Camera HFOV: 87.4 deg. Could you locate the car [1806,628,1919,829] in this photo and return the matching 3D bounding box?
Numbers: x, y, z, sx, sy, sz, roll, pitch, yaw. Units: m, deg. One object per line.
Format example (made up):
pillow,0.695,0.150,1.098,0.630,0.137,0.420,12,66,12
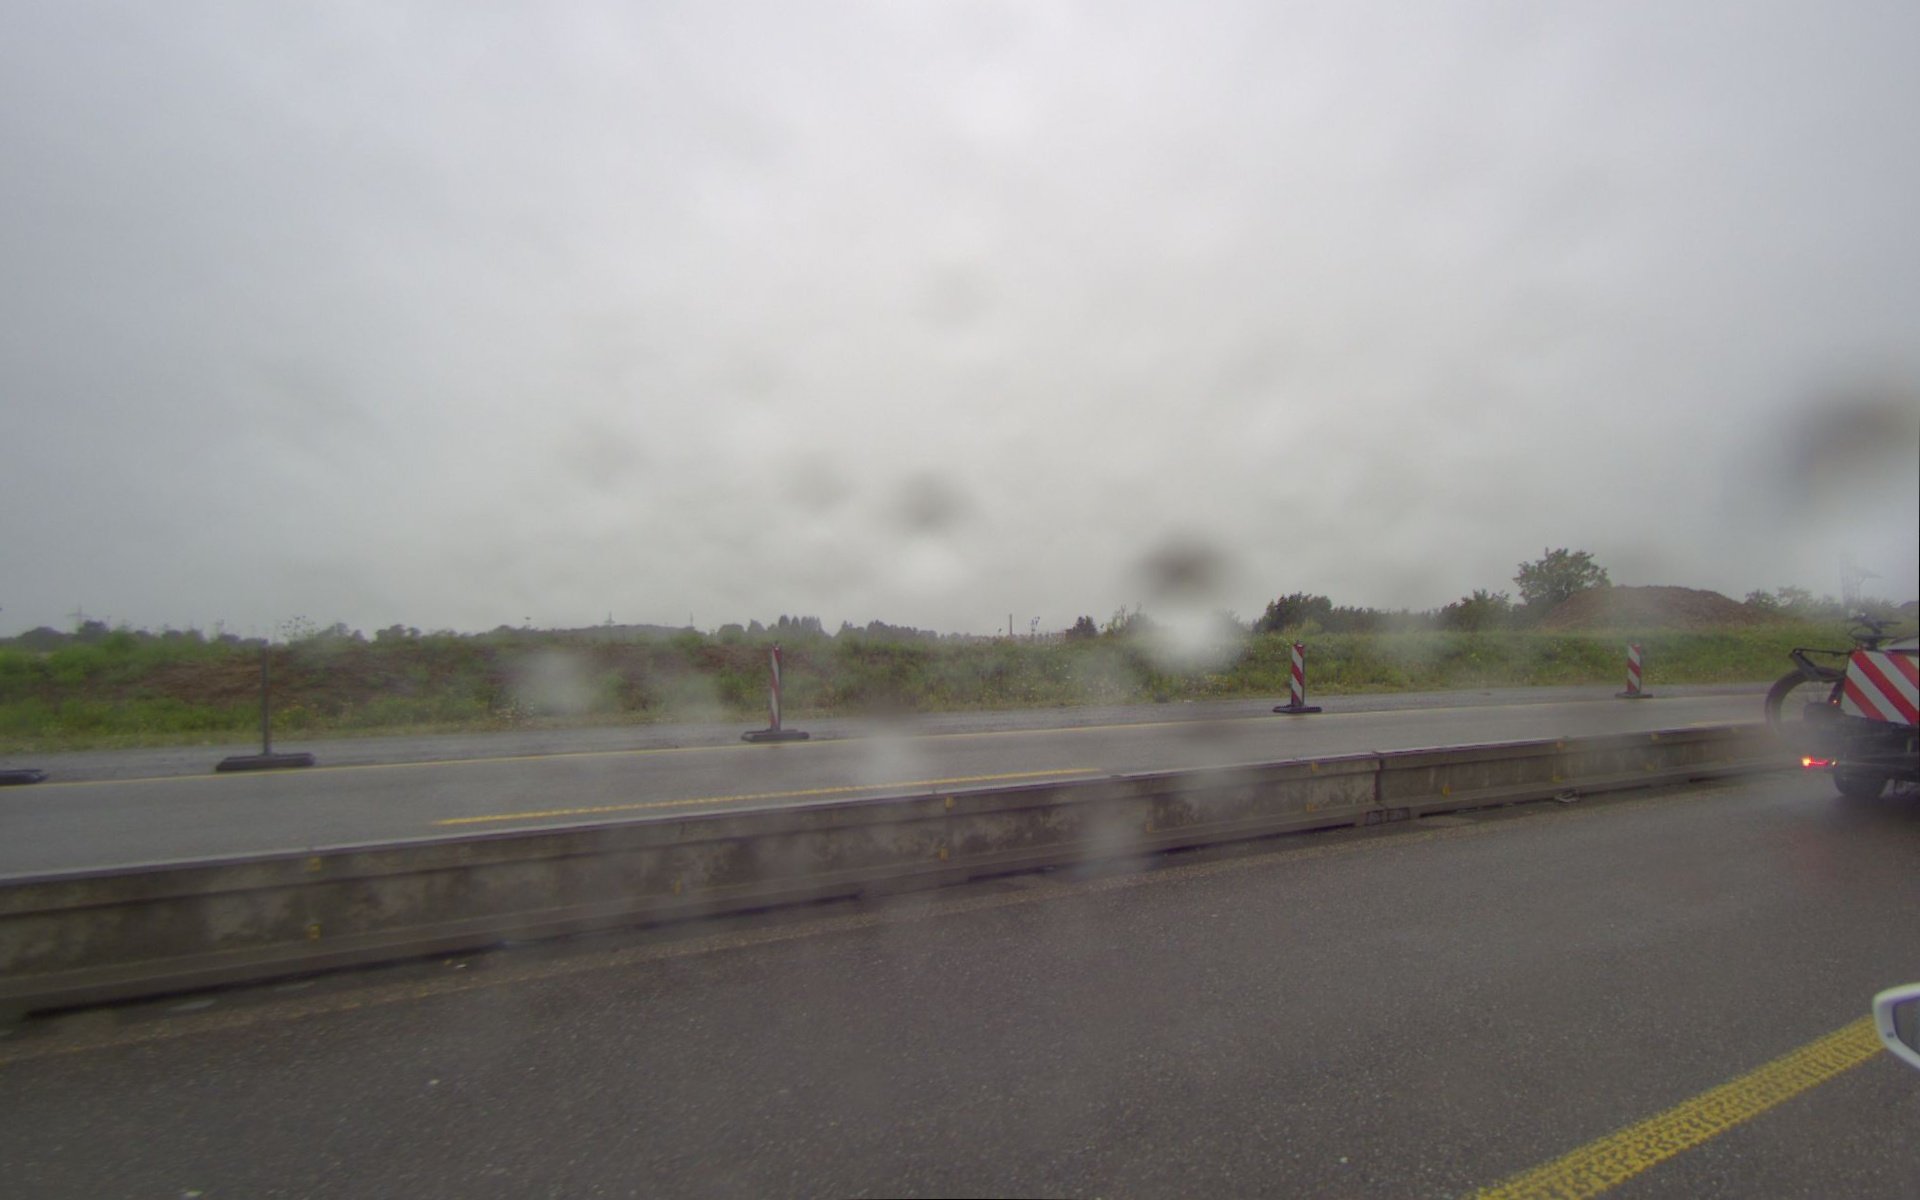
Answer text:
car,9.824,0.999,8.905,5.560,1.482,1.727,0,0,-29
